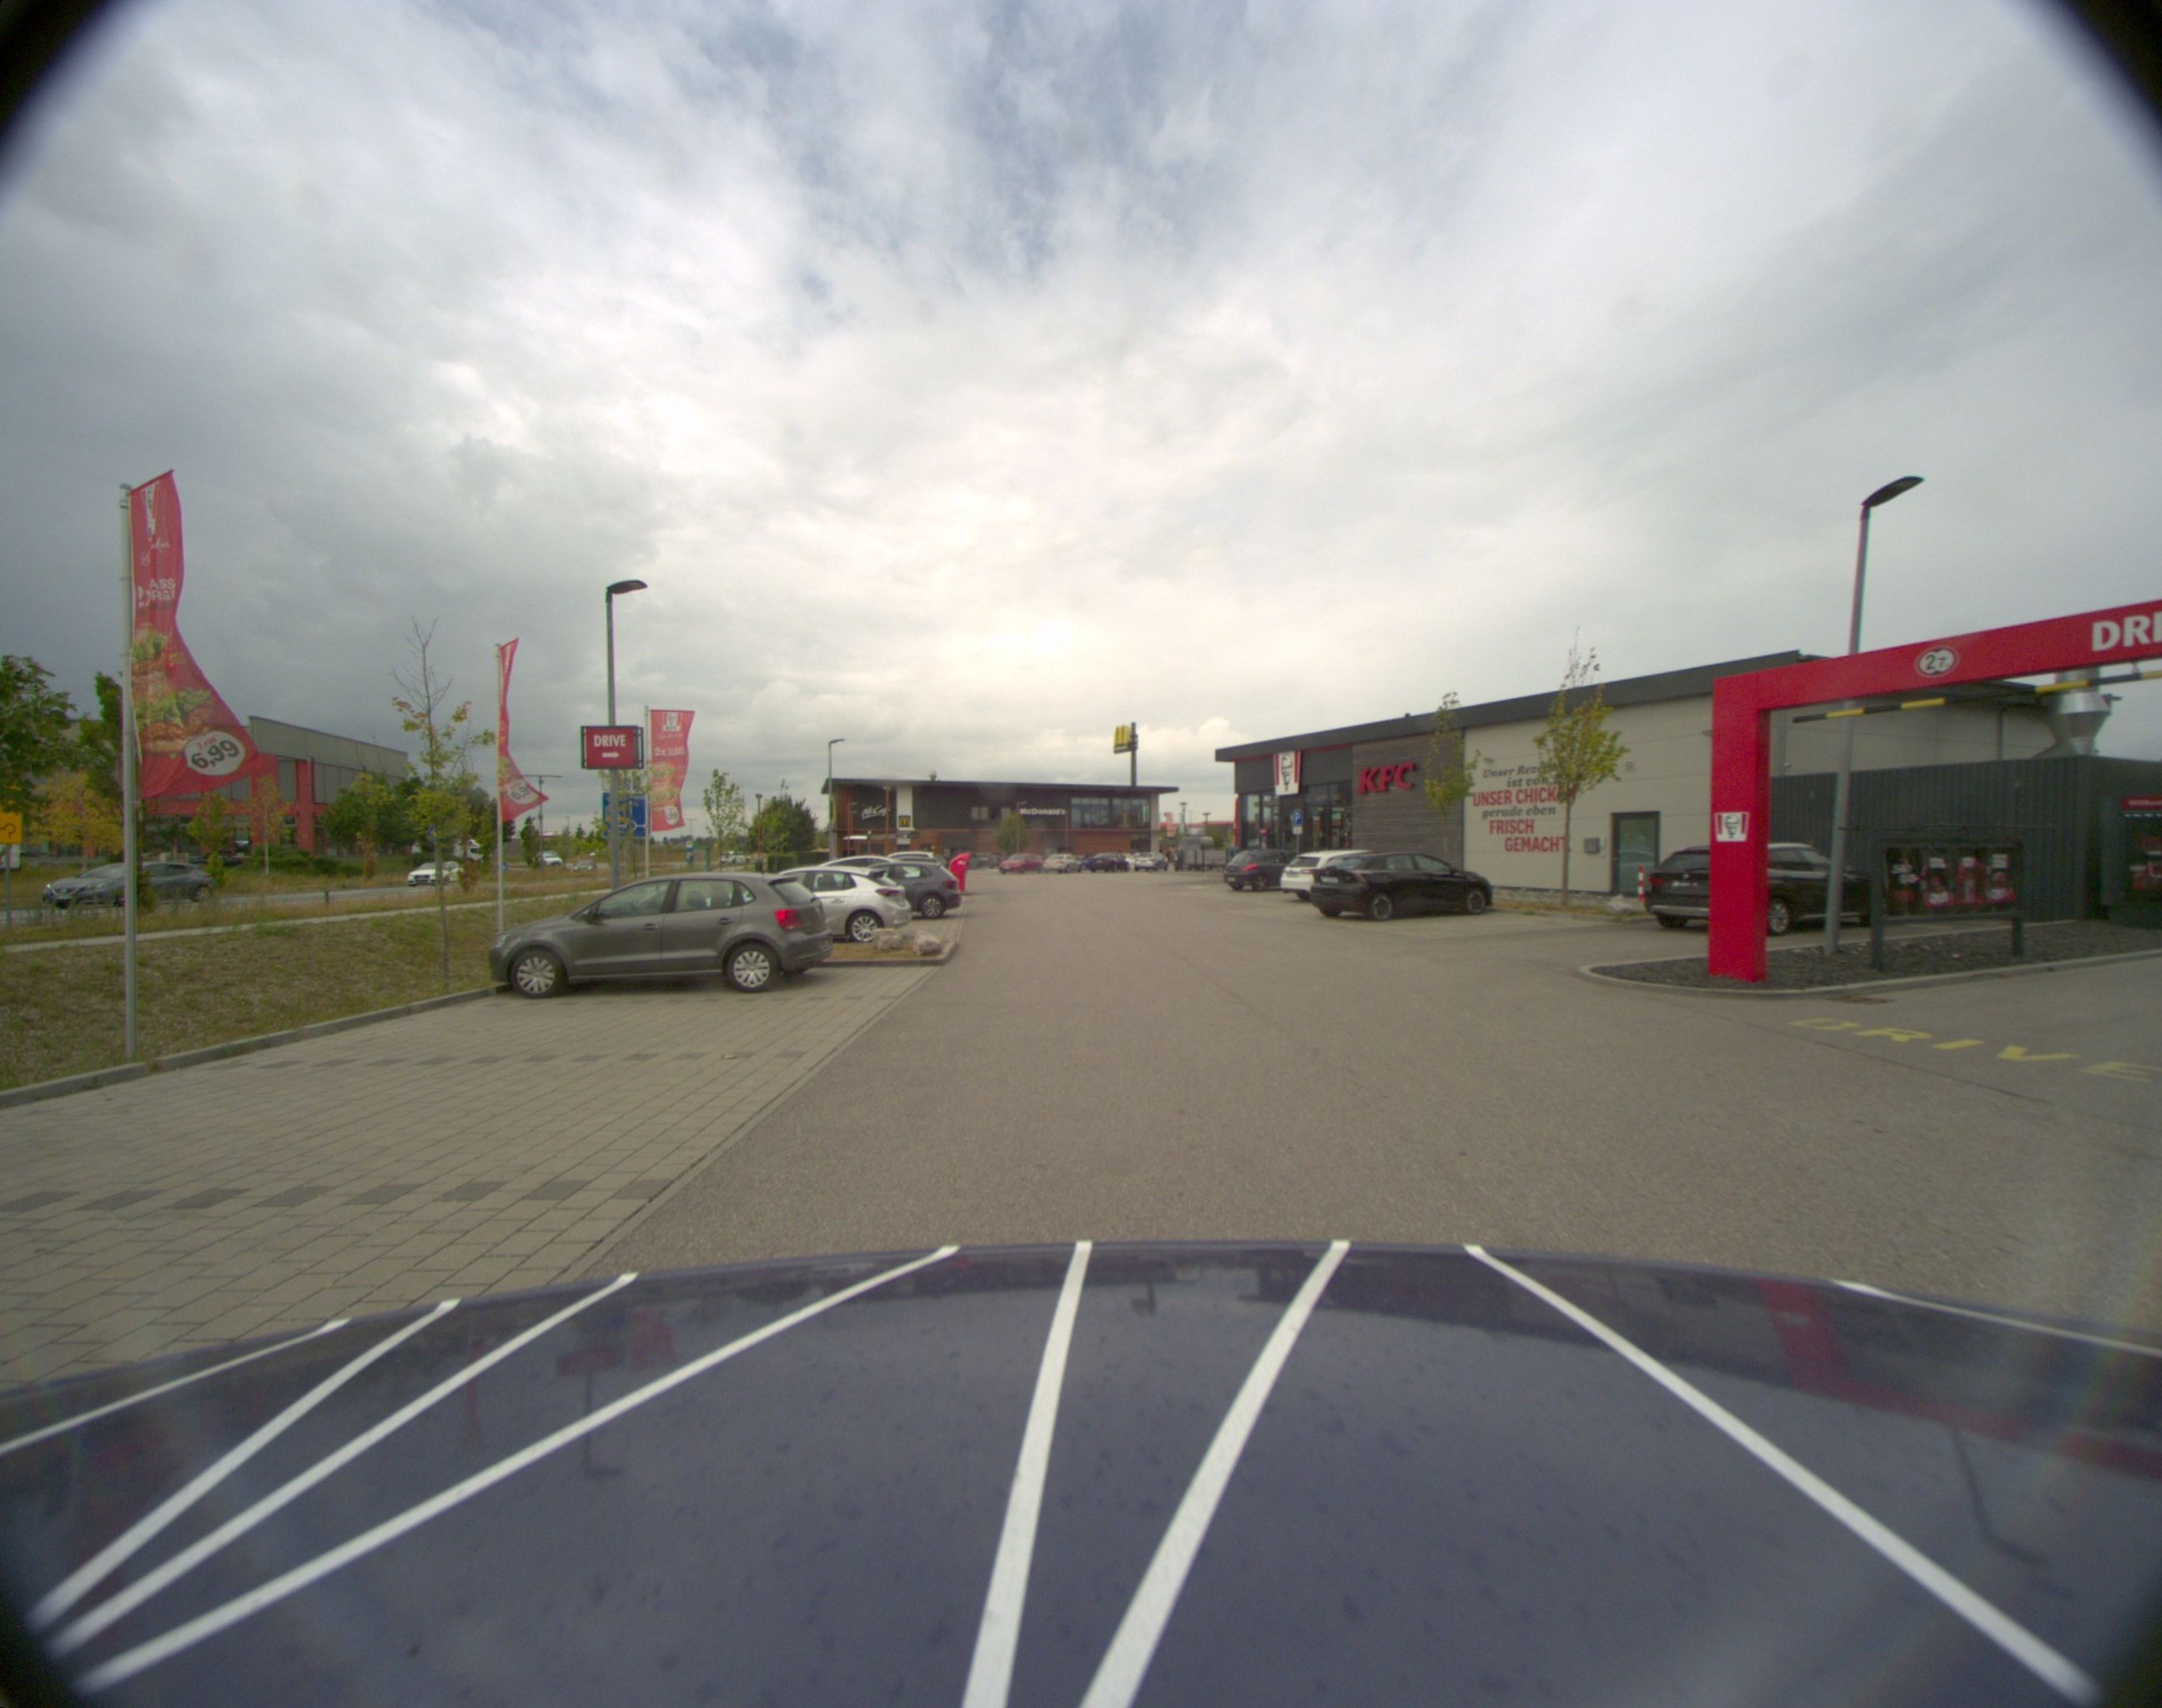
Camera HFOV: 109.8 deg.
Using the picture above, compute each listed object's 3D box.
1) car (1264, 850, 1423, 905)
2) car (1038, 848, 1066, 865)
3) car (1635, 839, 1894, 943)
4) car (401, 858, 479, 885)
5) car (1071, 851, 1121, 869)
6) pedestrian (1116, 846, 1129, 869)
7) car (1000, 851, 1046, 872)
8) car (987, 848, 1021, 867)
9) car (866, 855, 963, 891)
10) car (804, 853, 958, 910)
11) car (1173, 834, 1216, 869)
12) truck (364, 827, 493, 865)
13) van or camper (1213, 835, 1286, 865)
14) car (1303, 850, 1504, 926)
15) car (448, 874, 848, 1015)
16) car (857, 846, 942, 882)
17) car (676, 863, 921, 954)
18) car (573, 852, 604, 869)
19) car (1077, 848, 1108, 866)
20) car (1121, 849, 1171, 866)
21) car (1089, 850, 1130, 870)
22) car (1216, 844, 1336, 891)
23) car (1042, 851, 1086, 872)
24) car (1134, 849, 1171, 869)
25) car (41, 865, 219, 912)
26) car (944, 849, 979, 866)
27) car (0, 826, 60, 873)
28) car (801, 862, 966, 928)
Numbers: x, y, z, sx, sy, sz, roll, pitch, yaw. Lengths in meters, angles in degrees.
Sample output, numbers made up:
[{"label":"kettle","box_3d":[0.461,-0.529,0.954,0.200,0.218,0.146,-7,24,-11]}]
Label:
[{"label":"car","box_3d":[7.867,0.644,22.815,4.183,1.477,1.996,-1,1,-20]},{"label":"car","box_3d":[-3.203,0.224,83.373,1.755,1.743,3.992,1,1,-23]},{"label":"car","box_3d":[12.129,0.565,13.509,4.004,1.587,1.733,-1,1,-20]},{"label":"car","box_3d":[-37.464,1.006,44.552,1.756,1.482,4.126,0,-1,-13]},{"label":"car","box_3d":[1.285,0.496,66.174,3.989,1.501,1.772,1,1,24]},{"label":"pedestrian","box_3d":[3.048,0.240,56.059,0.747,1.668,0.844,1,1,22]},{"label":"car","box_3d":[-4.156,0.507,55.051,1.683,1.455,4.007,-1,0,23]},{"label":"car","box_3d":[-7.701,0.379,76.254,1.996,1.739,4.005,1,-1,15]},{"label":"car","box_3d":[-7.531,0.812,34.302,4.073,1.404,1.885,-2,1,-17]},{"label":"car","box_3d":[-6.267,0.841,24.338,4.546,1.532,1.924,-2,1,-10]},{"label":"car","box_3d":[8.915,-0.181,59.147,2.068,2.538,7.023,-1,0,19]},{"label":"truck","box_3d":[-82.751,-0.974,96.721,12.004,4.473,3.762,1,1,-14]},{"label":"van or camper","box_3d":[16.457,-0.352,74.382,6.557,2.685,2.176,-1,0,27]},{"label":"car","box_3d":[7.317,0.700,17.272,4.127,1.519,1.738,-1,1,-20]},{"label":"car","box_3d":[-5.224,1.060,9.600,3.997,1.420,1.727,-2,1,-2]},{"label":"car","box_3d":[-9.957,0.525,41.589,4.375,1.703,1.989,-2,1,-17]},{"label":"car","box_3d":[-5.197,0.979,14.430,3.938,1.404,1.839,-2,1,-4]},{"label":"car","box_3d":[-50.519,0.648,78.070,2.002,1.696,3.991,0,1,-23]},{"label":"car","box_3d":[1.245,0.251,79.814,1.894,1.653,4.263,1,3,20]},{"label":"car","box_3d":[5.796,0.326,67.889,4.102,1.458,1.783,0,-2,20]},{"label":"car","box_3d":[2.205,0.433,57.246,1.683,1.454,4.414,-1,0,22]},{"label":"car","box_3d":[7.197,0.466,28.096,3.943,1.478,1.755,-2,1,-19]},{"label":"car","box_3d":[-1.174,0.535,55.729,1.750,1.403,4.466,-1,0,19]},{"label":"car","box_3d":[5.625,0.369,59.183,1.683,1.443,4.007,-1,0,23]},{"label":"car","box_3d":[-33.004,1.139,26.579,1.756,1.482,4.125,0,-1,-15]},{"label":"car","box_3d":[-11.826,0.334,75.388,1.746,1.575,3.911,1,1,19]},{"label":"car","box_3d":[-55.469,-0.276,37.081,6.513,2.254,2.341,1,1,-21]},{"label":"car","box_3d":[-4.904,1.002,19.316,3.808,1.404,1.737,-2,1,-8]}]
